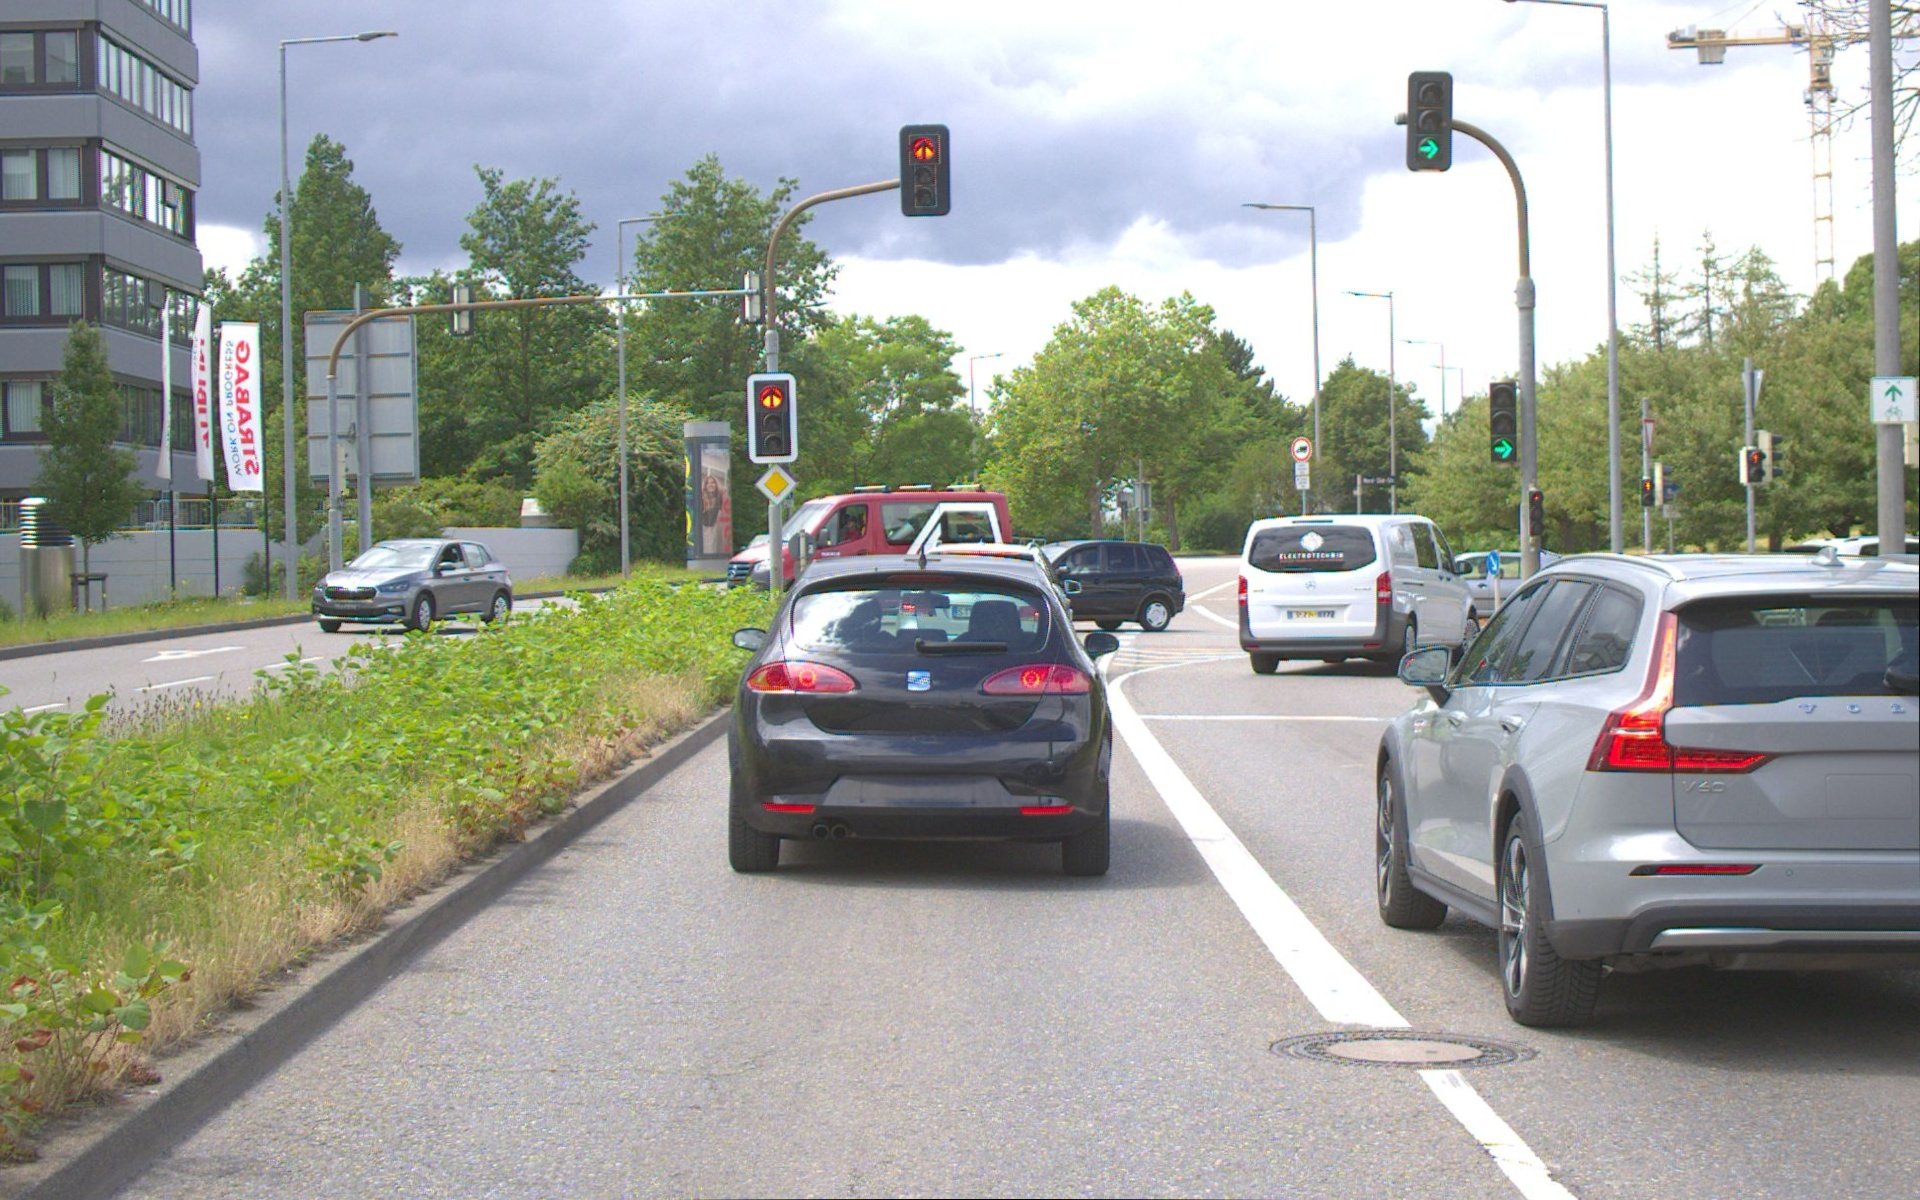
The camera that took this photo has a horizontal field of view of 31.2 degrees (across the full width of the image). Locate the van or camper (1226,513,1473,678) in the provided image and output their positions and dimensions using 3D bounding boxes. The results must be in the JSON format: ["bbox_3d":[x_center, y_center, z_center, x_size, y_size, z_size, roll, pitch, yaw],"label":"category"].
[{"bbox_3d":[4.749,-0.099,41.261,1.995,1.853,4.939,0,1,18],"label":"van or camper"}]

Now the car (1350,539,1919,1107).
[{"bbox_3d":[2.510,0.576,11.669,1.863,1.513,4.447,-1,1,0],"label":"car"}]

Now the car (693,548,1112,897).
[{"bbox_3d":[-0.227,0.498,16.501,1.773,1.447,3.582,1,1,1],"label":"car"}]

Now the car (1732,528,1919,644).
[{"bbox_3d":[13.325,-0.224,49.171,3.986,1.590,2.001,-1,1,-10],"label":"car"}]

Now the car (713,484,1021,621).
[{"bbox_3d":[-1.688,-0.883,62.602,5.222,2.404,2.001,-1,1,-21],"label":"car"}]

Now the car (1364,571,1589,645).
[{"bbox_3d":[9.699,0.139,64.834,3.987,1.349,2.000,0,1,2],"label":"car"}]

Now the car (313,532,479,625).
[{"bbox_3d":[-8.729,-0.361,53.505,1.932,1.393,4.000,0,1,0],"label":"car"}]

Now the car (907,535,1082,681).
[{"bbox_3d":[0.333,0.052,37.819,1.773,1.486,3.583,-1,1,-1],"label":"car"}]
